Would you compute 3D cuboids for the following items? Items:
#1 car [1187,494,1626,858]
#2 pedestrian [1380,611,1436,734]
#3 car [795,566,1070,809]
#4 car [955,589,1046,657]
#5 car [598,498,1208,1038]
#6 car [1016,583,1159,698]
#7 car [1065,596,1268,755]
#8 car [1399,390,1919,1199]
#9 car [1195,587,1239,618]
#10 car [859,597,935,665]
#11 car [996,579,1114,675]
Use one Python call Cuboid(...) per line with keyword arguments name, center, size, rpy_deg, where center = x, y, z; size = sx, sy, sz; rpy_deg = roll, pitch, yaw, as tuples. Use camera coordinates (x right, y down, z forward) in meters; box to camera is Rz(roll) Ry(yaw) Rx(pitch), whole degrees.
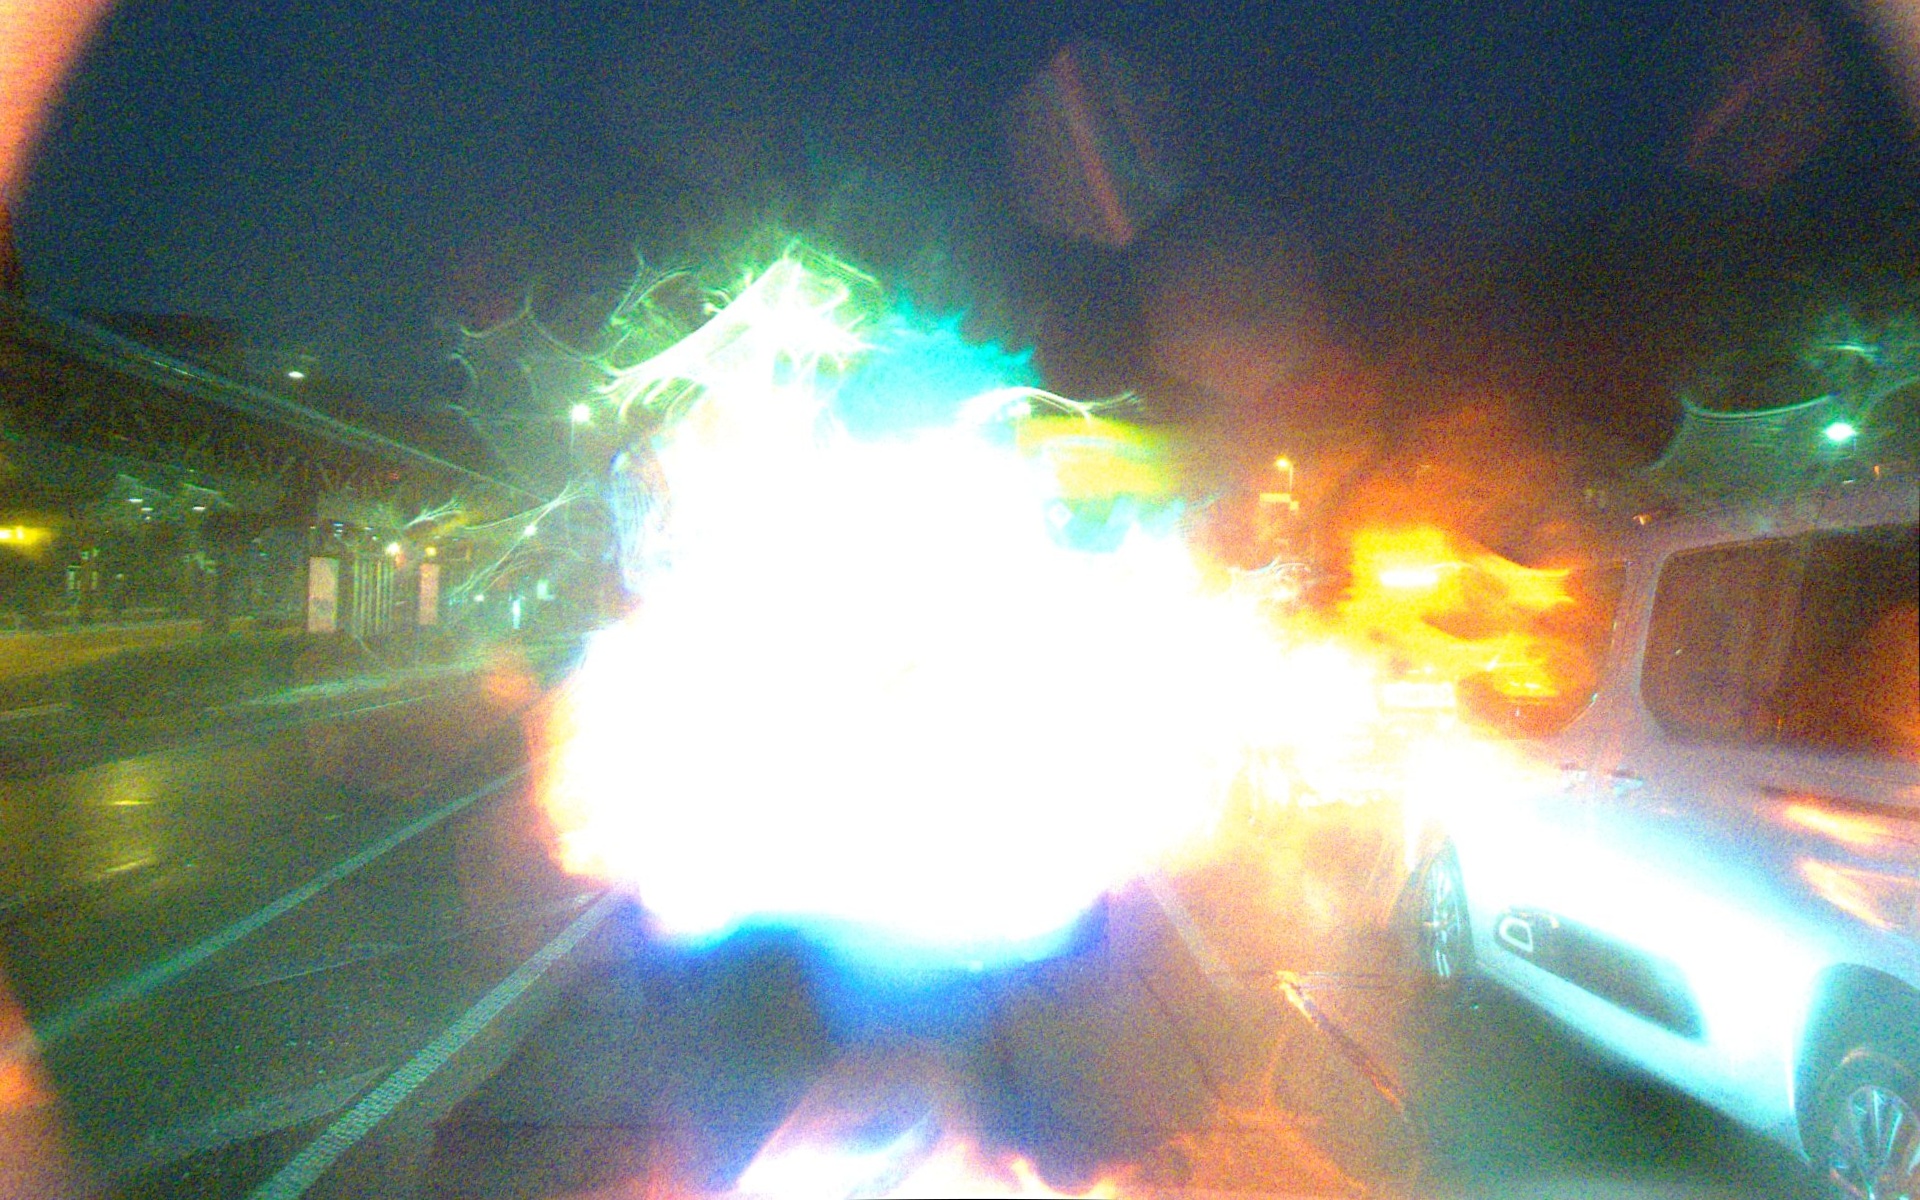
Cuboid(name="car", center=(2.878, 0.452, 11.624), size=(1.929, 2.082, 3.999), rpy_deg=(1, 0, -1))
Cuboid(name="pedestrian", center=(6.397, 1.028, 23.619), size=(0.610, 1.731, 0.540), rpy_deg=(1, -1, -3))
Cuboid(name="car", center=(-0.227, 0.642, 13.928), size=(1.953, 1.713, 3.999), rpy_deg=(1, 0, -1))
Cuboid(name="car", center=(0.965, 0.560, 41.069), size=(1.821, 1.571, 3.926), rpy_deg=(1, 0, -5))
Cuboid(name="car", center=(-0.252, 0.568, 7.671), size=(1.974, 1.747, 4.450), rpy_deg=(1, 0, -2))
Cuboid(name="car", center=(2.002, 0.626, 27.031), size=(1.953, 1.699, 3.999), rpy_deg=(1, 0, -1))
Cuboid(name="car", center=(2.452, 0.859, 20.597), size=(1.953, 1.748, 3.999), rpy_deg=(1, 0, -1))
Cuboid(name="car", center=(2.754, 0.560, 4.637), size=(1.814, 1.897, 4.339), rpy_deg=(1, 0, -1))
Cuboid(name="car", center=(14.624, 0.128, 94.260), size=(1.827, 1.675, 3.962), rpy_deg=(-2, 0, 0))
Cuboid(name="car", center=(-1.874, 0.876, 48.059), size=(1.955, 1.856, 3.995), rpy_deg=(1, 0, -6))
Cuboid(name="car", center=(1.856, 0.530, 33.632), size=(1.954, 1.804, 3.998), rpy_deg=(1, 0, -3))
